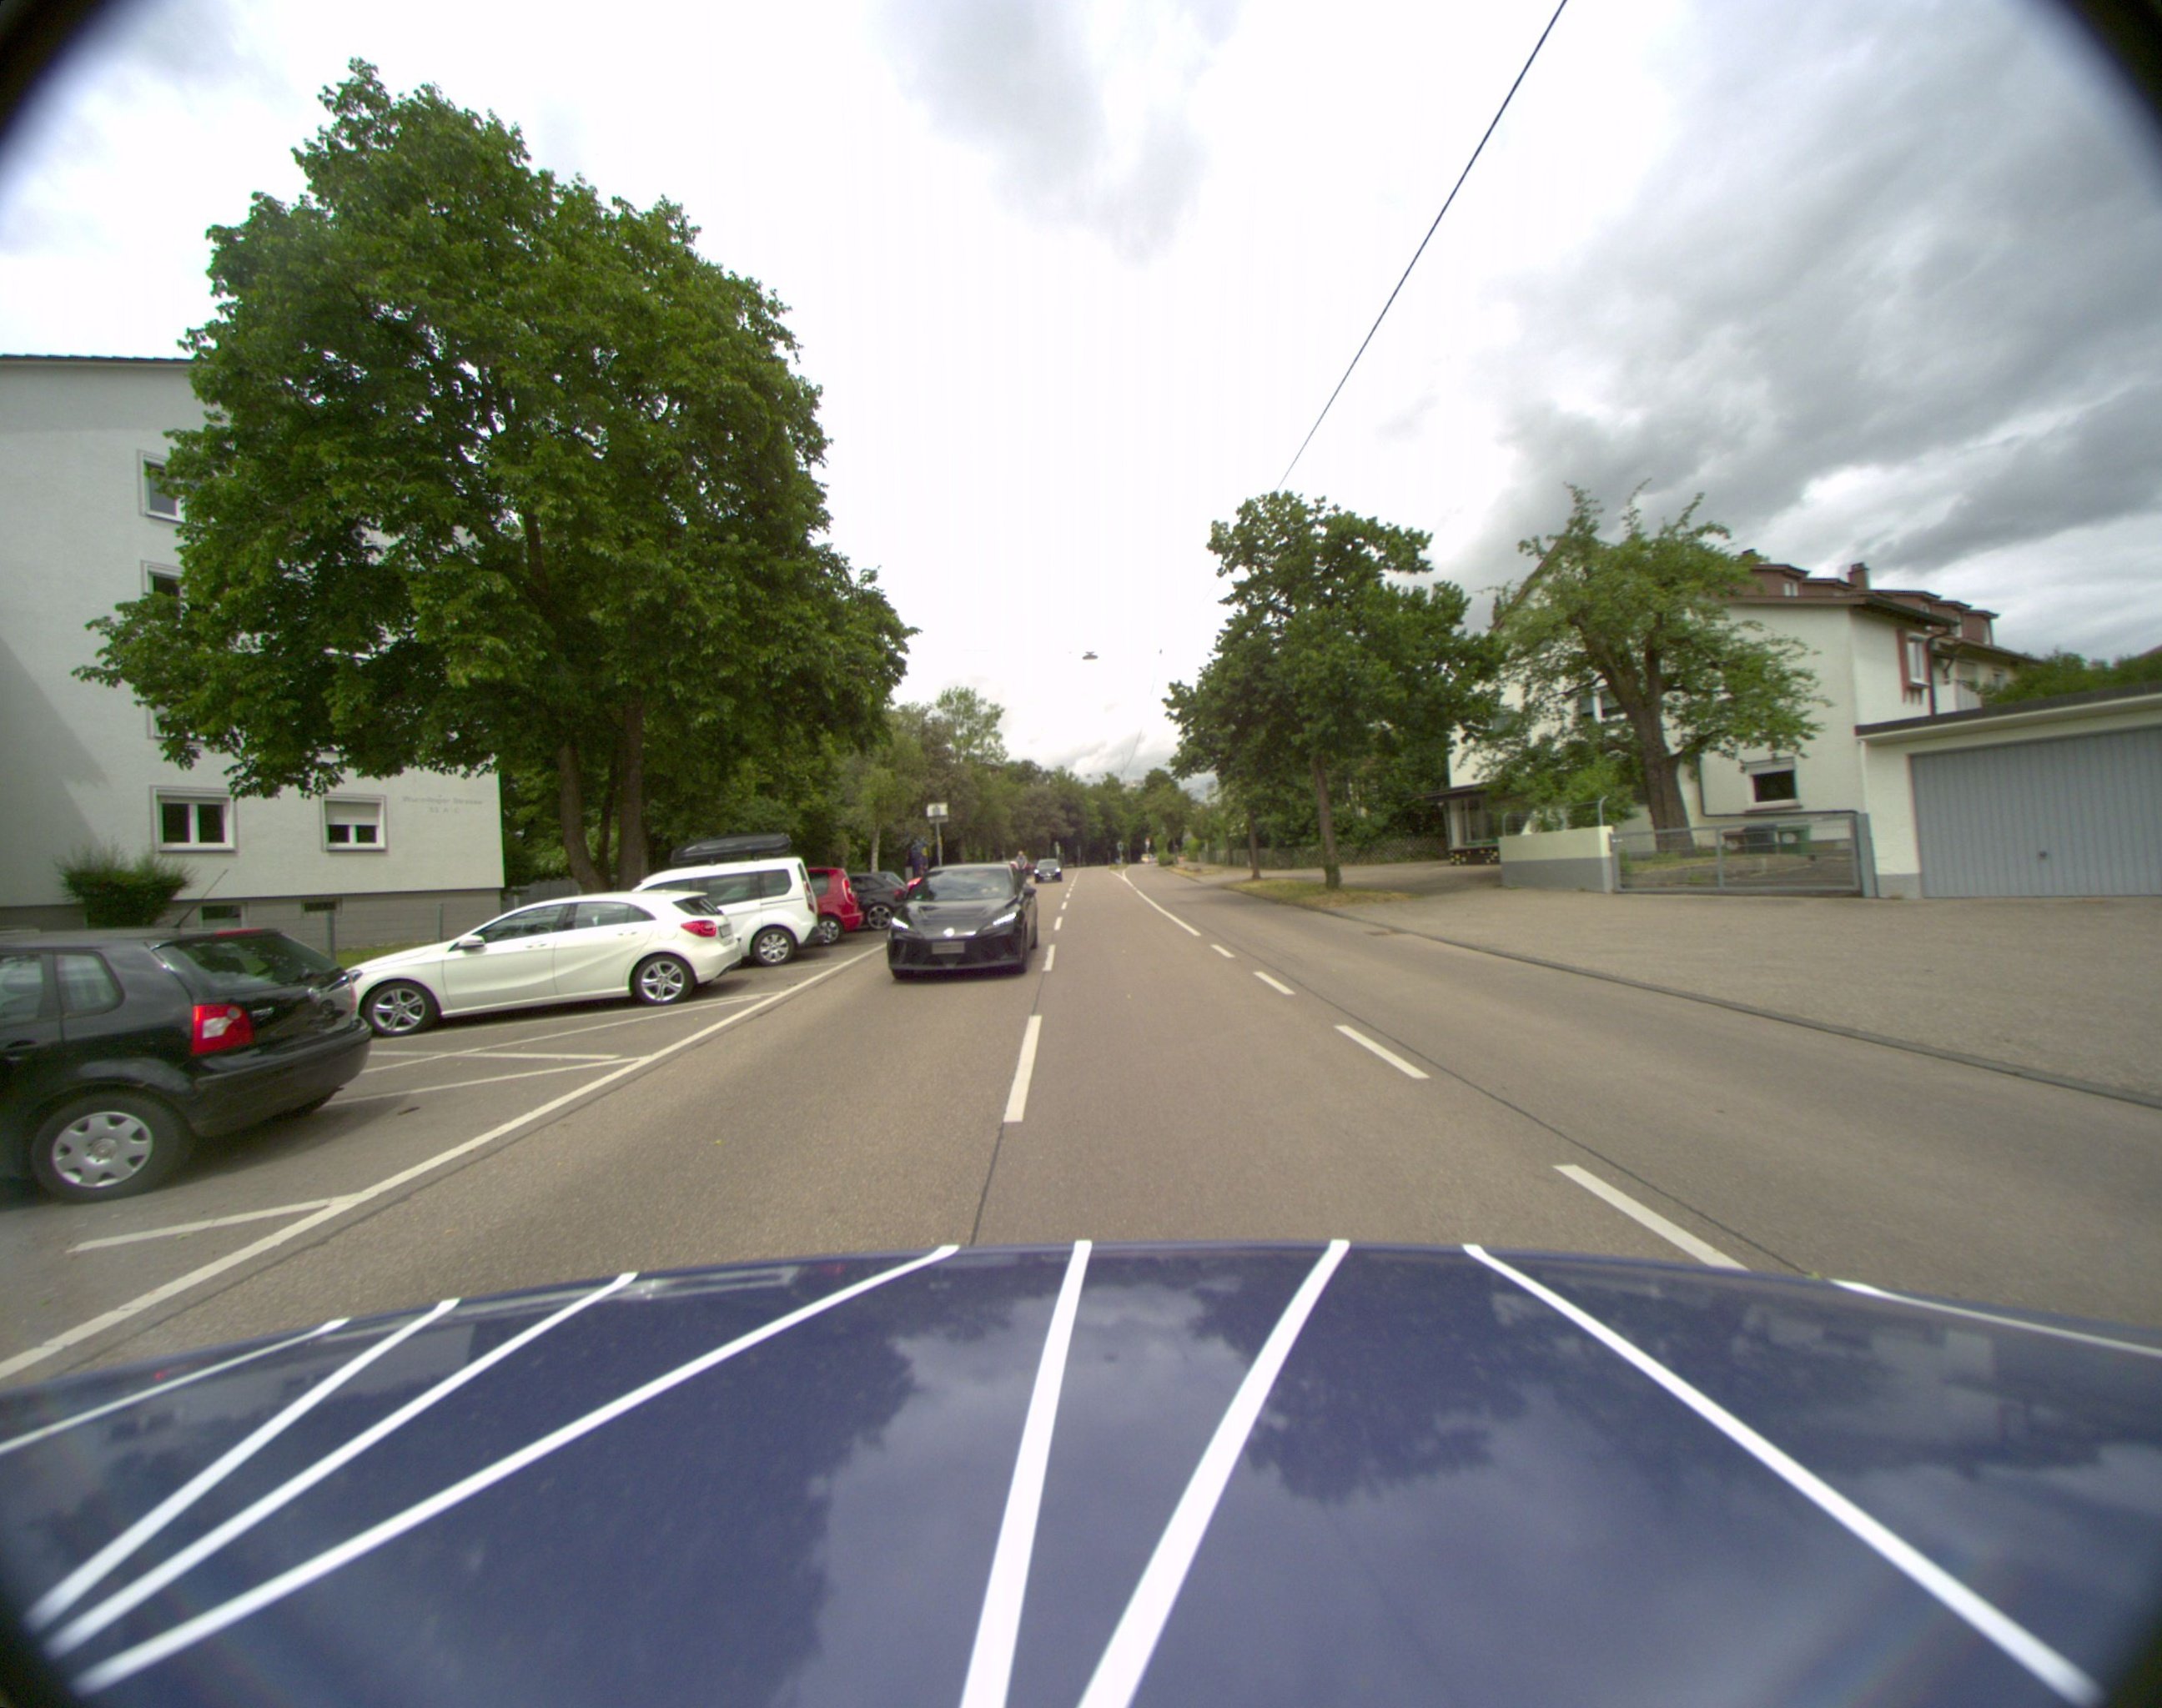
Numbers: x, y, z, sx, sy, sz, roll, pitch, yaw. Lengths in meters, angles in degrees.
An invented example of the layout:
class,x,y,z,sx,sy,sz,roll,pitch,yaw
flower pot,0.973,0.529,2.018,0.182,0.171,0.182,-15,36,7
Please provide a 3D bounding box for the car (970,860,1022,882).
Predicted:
class,x,y,z,sx,sy,sz,roll,pitch,yaw
car,-6.687,1.312,59.672,3.857,1.379,1.654,-4,1,-8

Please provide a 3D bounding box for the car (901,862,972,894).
class,x,y,z,sx,sy,sz,roll,pitch,yaw
car,-8.681,1.404,45.527,3.860,1.549,1.652,-5,1,-20

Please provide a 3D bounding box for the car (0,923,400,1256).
class,x,y,z,sx,sy,sz,roll,pitch,yaw
car,-6.536,1.361,4.292,3.516,1.455,1.713,-5,1,-20

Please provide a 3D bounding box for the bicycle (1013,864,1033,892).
class,x,y,z,sx,sy,sz,roll,pitch,yaw
bicycle,-2.707,1.115,35.468,0.648,1.230,1.875,-3,0,-11

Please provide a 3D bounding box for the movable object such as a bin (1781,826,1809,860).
class,x,y,z,sx,sy,sz,roll,pitch,yaw
movable object such as a bin,18.830,-0.293,20.037,0.460,0.877,0.388,-4,1,-29

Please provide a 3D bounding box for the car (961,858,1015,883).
class,x,y,z,sx,sy,sz,roll,pitch,yaw
car,-6.926,1.224,56.863,3.857,1.553,1.654,-4,1,-8

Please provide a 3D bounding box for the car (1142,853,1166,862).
class,x,y,z,sx,sy,sz,roll,pitch,yaw
car,12.884,0.653,134.457,4.006,1.401,1.796,-3,0,-35

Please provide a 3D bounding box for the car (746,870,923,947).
class,x,y,z,sx,sy,sz,roll,pitch,yaw
car,-5.912,1.269,18.608,3.859,1.426,1.653,-5,1,-14

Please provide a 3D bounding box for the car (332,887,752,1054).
class,x,y,z,sx,sy,sz,roll,pitch,yaw
car,-6.424,1.329,9.568,3.859,1.430,1.714,-5,1,-14

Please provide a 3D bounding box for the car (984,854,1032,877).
class,x,y,z,sx,sy,sz,roll,pitch,yaw
car,-6.271,0.970,65.136,3.857,1.634,1.654,-4,1,-8

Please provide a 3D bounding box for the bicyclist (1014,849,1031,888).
class,x,y,z,sx,sy,sz,roll,pitch,yaw
bicyclist,-2.716,0.682,35.415,0.648,1.769,0.627,-3,1,-11

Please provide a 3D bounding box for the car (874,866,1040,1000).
class,x,y,z,sx,sy,sz,roll,pitch,yaw
car,-1.647,1.021,11.360,1.813,1.484,3.792,-3,1,0

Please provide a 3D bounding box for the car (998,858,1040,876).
class,x,y,z,sx,sy,sz,roll,pitch,yaw
car,-5.992,1.258,73.293,3.857,1.379,1.654,-4,1,-8

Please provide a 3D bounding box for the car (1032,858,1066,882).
class,x,y,z,sx,sy,sz,roll,pitch,yaw
car,-2.036,1.001,48.808,1.861,1.366,4.076,-3,0,1

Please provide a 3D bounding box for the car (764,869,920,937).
class,x,y,z,sx,sy,sz,roll,pitch,yaw
car,-6.491,1.294,20.959,3.859,1.426,1.653,-5,1,-14

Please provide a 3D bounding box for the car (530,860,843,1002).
class,x,y,z,sx,sy,sz,roll,pitch,yaw
car,-6.375,1.150,12.743,4.226,1.748,1.856,-5,1,-24

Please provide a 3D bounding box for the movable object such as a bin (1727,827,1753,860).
class,x,y,z,sx,sy,sz,roll,pitch,yaw
movable object such as a bin,18.400,-0.293,21.206,0.460,0.877,0.388,-4,1,-29

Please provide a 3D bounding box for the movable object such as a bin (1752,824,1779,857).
class,x,y,z,sx,sy,sz,roll,pitch,yaw
movable object such as a bin,18.570,-0.369,20.621,0.460,0.877,0.388,-4,1,-29

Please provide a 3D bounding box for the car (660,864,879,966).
class,x,y,z,sx,sy,sz,roll,pitch,yaw
car,-6.280,1.182,15.788,3.859,1.634,1.851,-5,1,-14

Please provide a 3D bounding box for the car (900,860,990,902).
class,x,y,z,sx,sy,sz,roll,pitch,yaw
car,-6.450,1.253,36.012,3.860,1.603,1.652,-5,1,-20

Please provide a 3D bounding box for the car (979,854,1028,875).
class,x,y,z,sx,sy,sz,roll,pitch,yaw
car,-6.307,0.841,61.860,3.857,1.379,1.654,-4,1,-8

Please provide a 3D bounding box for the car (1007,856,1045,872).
class,x,y,z,sx,sy,sz,roll,pitch,yaw
car,-5.898,1.023,80.902,3.857,1.379,1.654,-4,1,-8
